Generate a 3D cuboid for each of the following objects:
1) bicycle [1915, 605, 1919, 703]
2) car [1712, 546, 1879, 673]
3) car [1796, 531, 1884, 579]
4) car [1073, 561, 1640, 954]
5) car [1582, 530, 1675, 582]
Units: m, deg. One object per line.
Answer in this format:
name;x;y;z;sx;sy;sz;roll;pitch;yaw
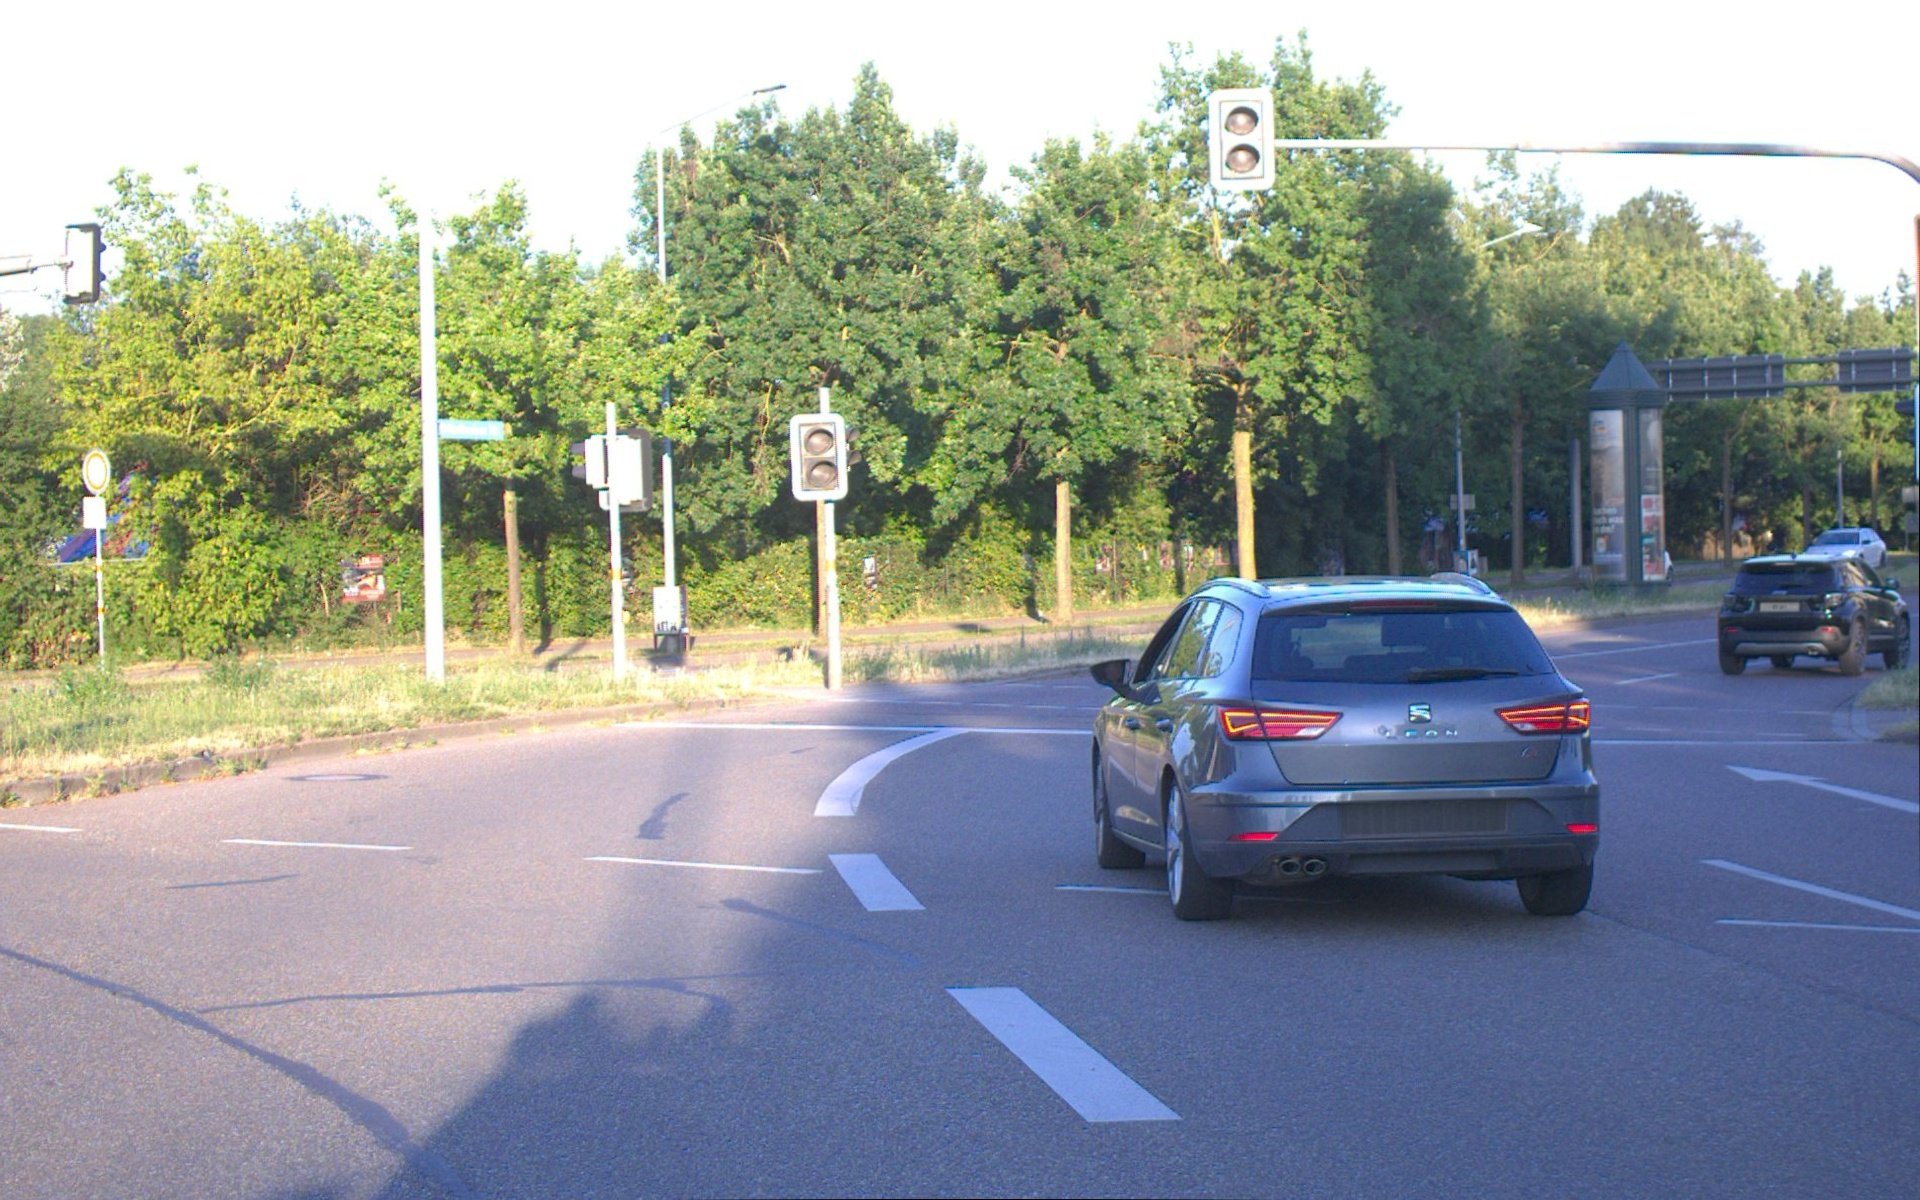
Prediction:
bicycle;9.939;0.540;32.003;1.924;1.081;0.456;-3;0;27
car;10.961;0.097;44.924;1.814;1.519;4.131;0;2;18
car;27.620;-1.426;107.838;1.724;1.444;4.543;0;1;27
car;1.596;0.579;15.268;1.745;1.419;4.136;-1;1;-4
car;19.578;-1.293;100.625;1.552;1.438;3.480;-2;0;31
